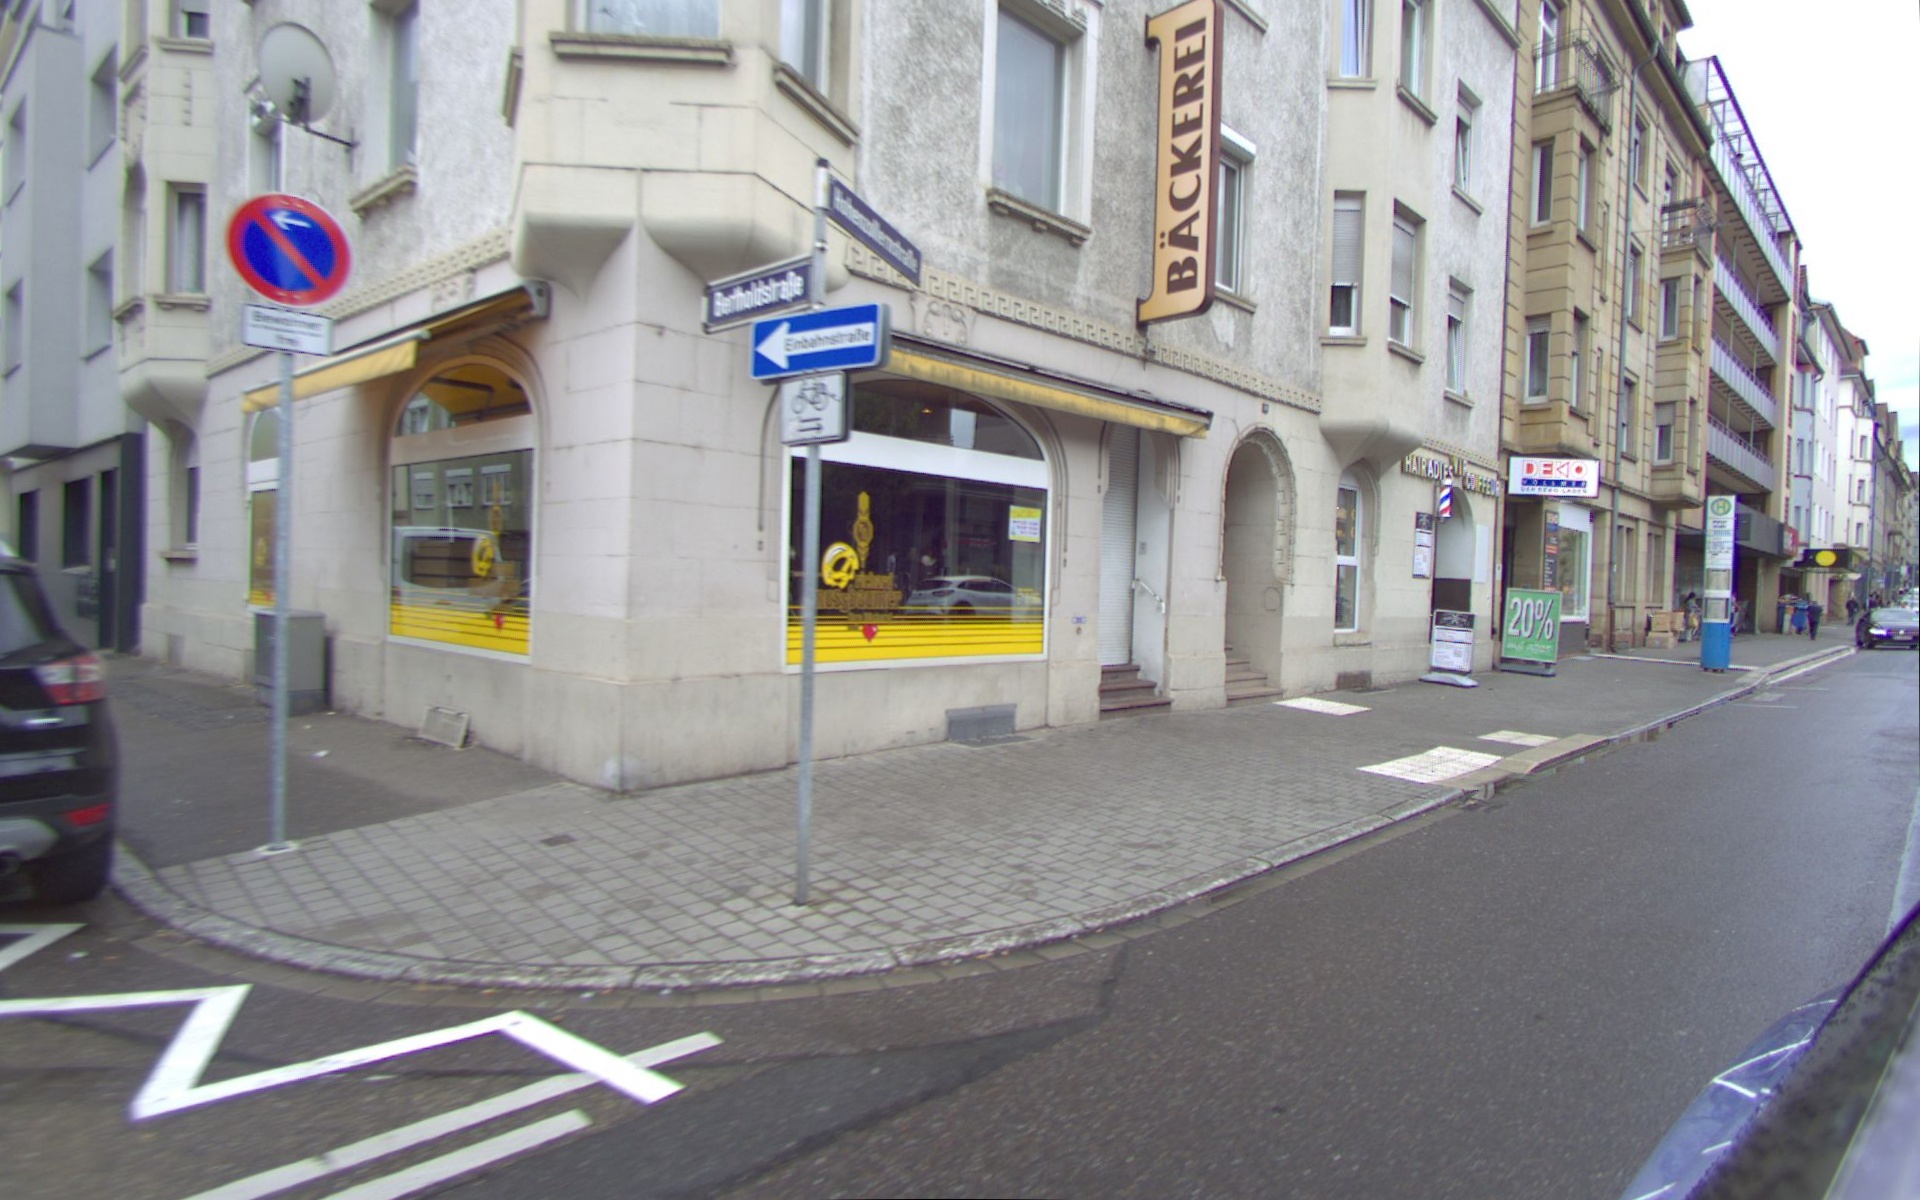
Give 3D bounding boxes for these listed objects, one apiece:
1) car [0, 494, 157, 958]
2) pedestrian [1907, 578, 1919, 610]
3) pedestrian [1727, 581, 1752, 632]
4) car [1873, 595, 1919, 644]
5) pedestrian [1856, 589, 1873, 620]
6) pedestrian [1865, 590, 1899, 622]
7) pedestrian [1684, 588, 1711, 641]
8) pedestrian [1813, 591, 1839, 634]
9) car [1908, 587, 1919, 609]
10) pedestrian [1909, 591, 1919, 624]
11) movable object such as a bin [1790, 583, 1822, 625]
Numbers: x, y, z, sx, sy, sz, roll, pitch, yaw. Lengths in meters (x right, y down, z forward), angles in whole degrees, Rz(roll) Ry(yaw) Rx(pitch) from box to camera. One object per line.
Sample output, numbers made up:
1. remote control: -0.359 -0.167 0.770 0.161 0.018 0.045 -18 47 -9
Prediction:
1. car: -5.571 0.450 4.886 4.132 1.794 1.846 1 0 40
2. pedestrian: 50.524 -0.311 53.156 0.767 1.667 0.705 2 2 -10
3. pedestrian: 29.086 0.217 37.775 0.715 1.882 0.597 -1 1 -41
4. car: 33.560 0.660 35.701 3.916 1.566 1.732 -1 2 -44
5. pedestrian: 52.897 0.284 59.200 0.687 1.770 0.610 0 3 -44
6. pedestrian: 52.892 0.339 58.068 0.838 1.770 1.064 2 2 0
7. pedestrian: 22.510 0.425 30.900 0.558 1.592 0.621 1 1 29
8. pedestrian: 34.544 0.485 40.363 0.736 1.672 0.626 1 3 -45
9. car: 69.696 -0.137 73.054 1.851 1.482 4.139 1 2 44
10. pedestrian: 50.582 0.406 53.134 0.767 1.667 0.705 2 2 -10
11. movable object such as a bin: 37.641 0.161 45.028 0.999 1.815 1.276 2 2 43
